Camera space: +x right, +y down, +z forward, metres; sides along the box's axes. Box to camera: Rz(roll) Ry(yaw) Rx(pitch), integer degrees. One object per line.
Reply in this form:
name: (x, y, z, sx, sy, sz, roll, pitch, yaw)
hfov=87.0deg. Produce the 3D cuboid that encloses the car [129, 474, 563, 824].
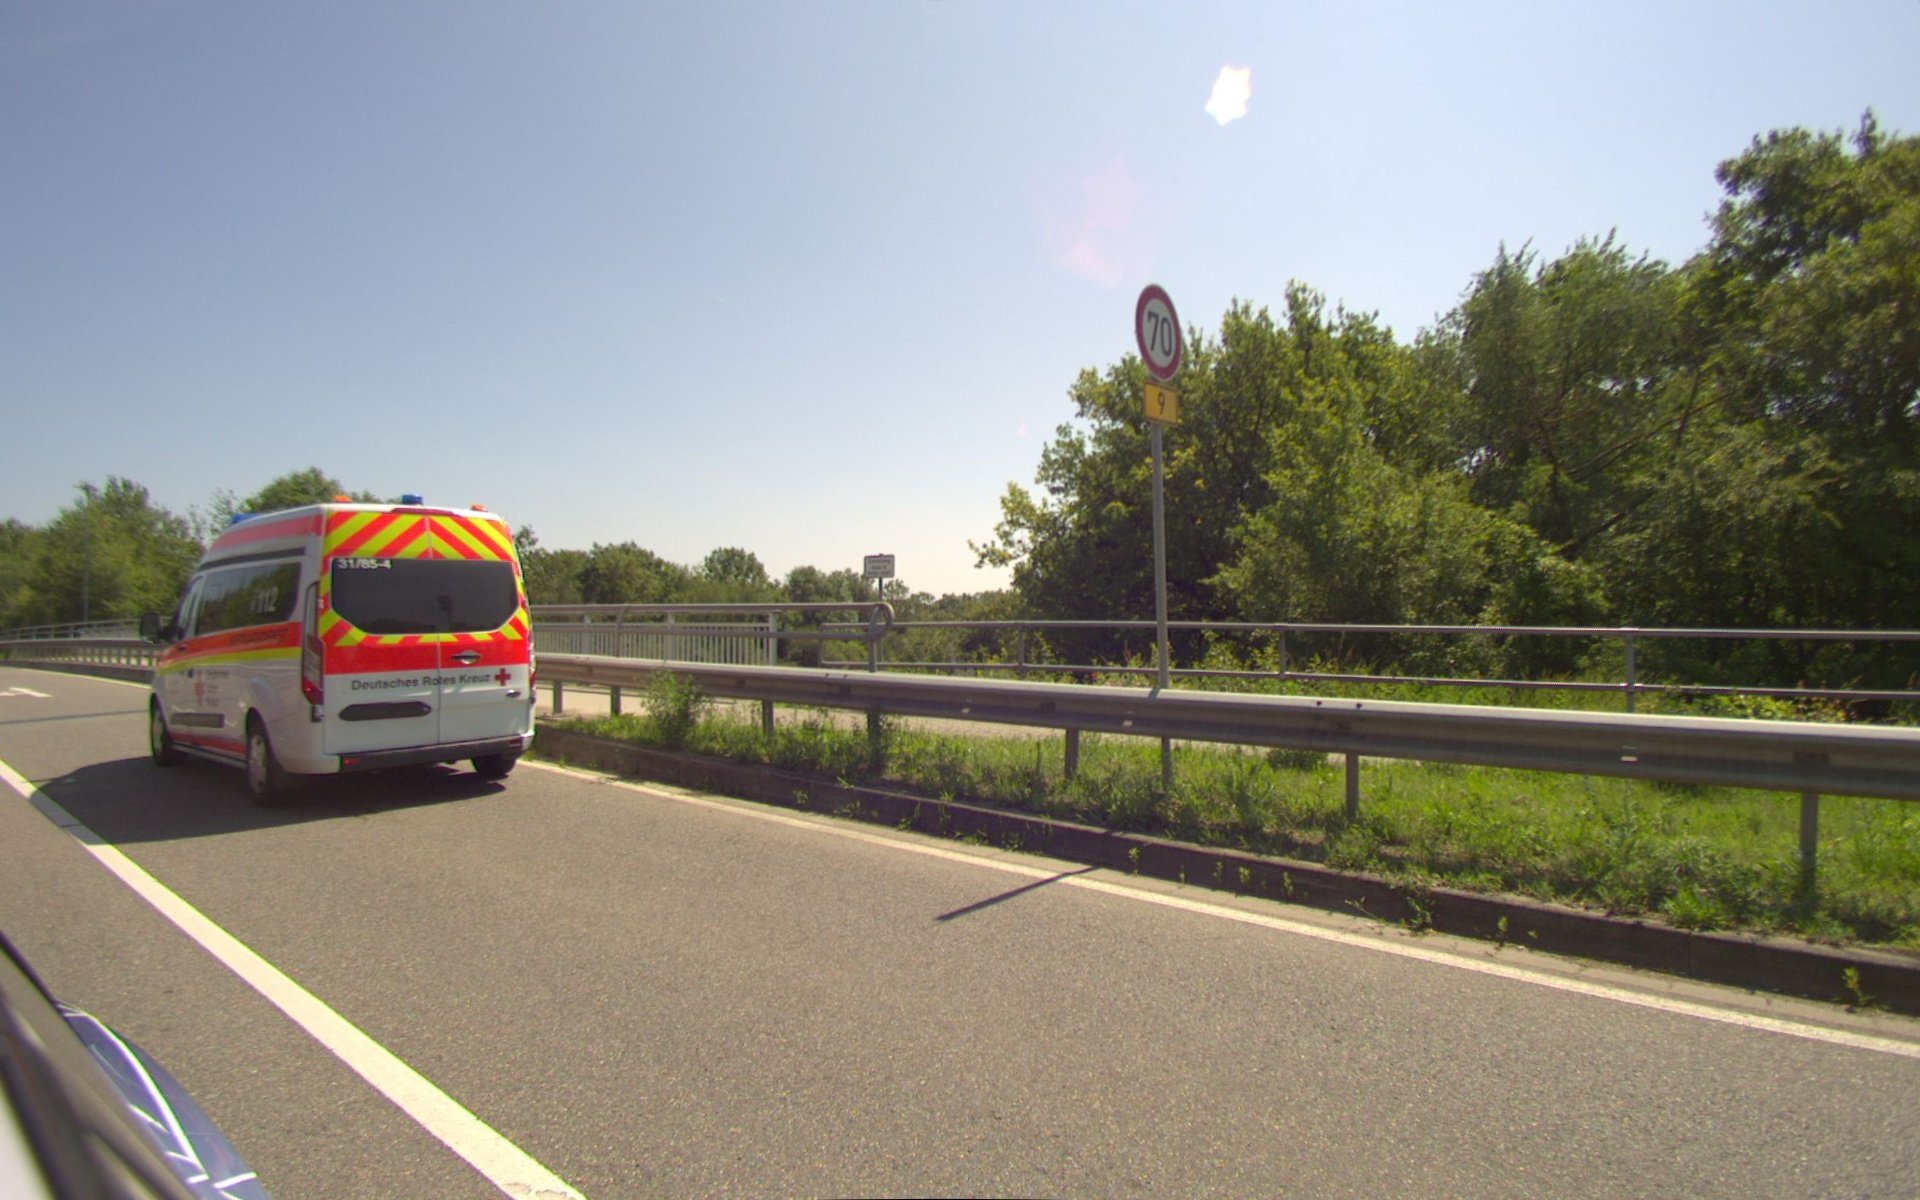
car: (-5.898, 0.367, 9.376, 5.179, 2.386, 1.969, -1, 0, 41)
